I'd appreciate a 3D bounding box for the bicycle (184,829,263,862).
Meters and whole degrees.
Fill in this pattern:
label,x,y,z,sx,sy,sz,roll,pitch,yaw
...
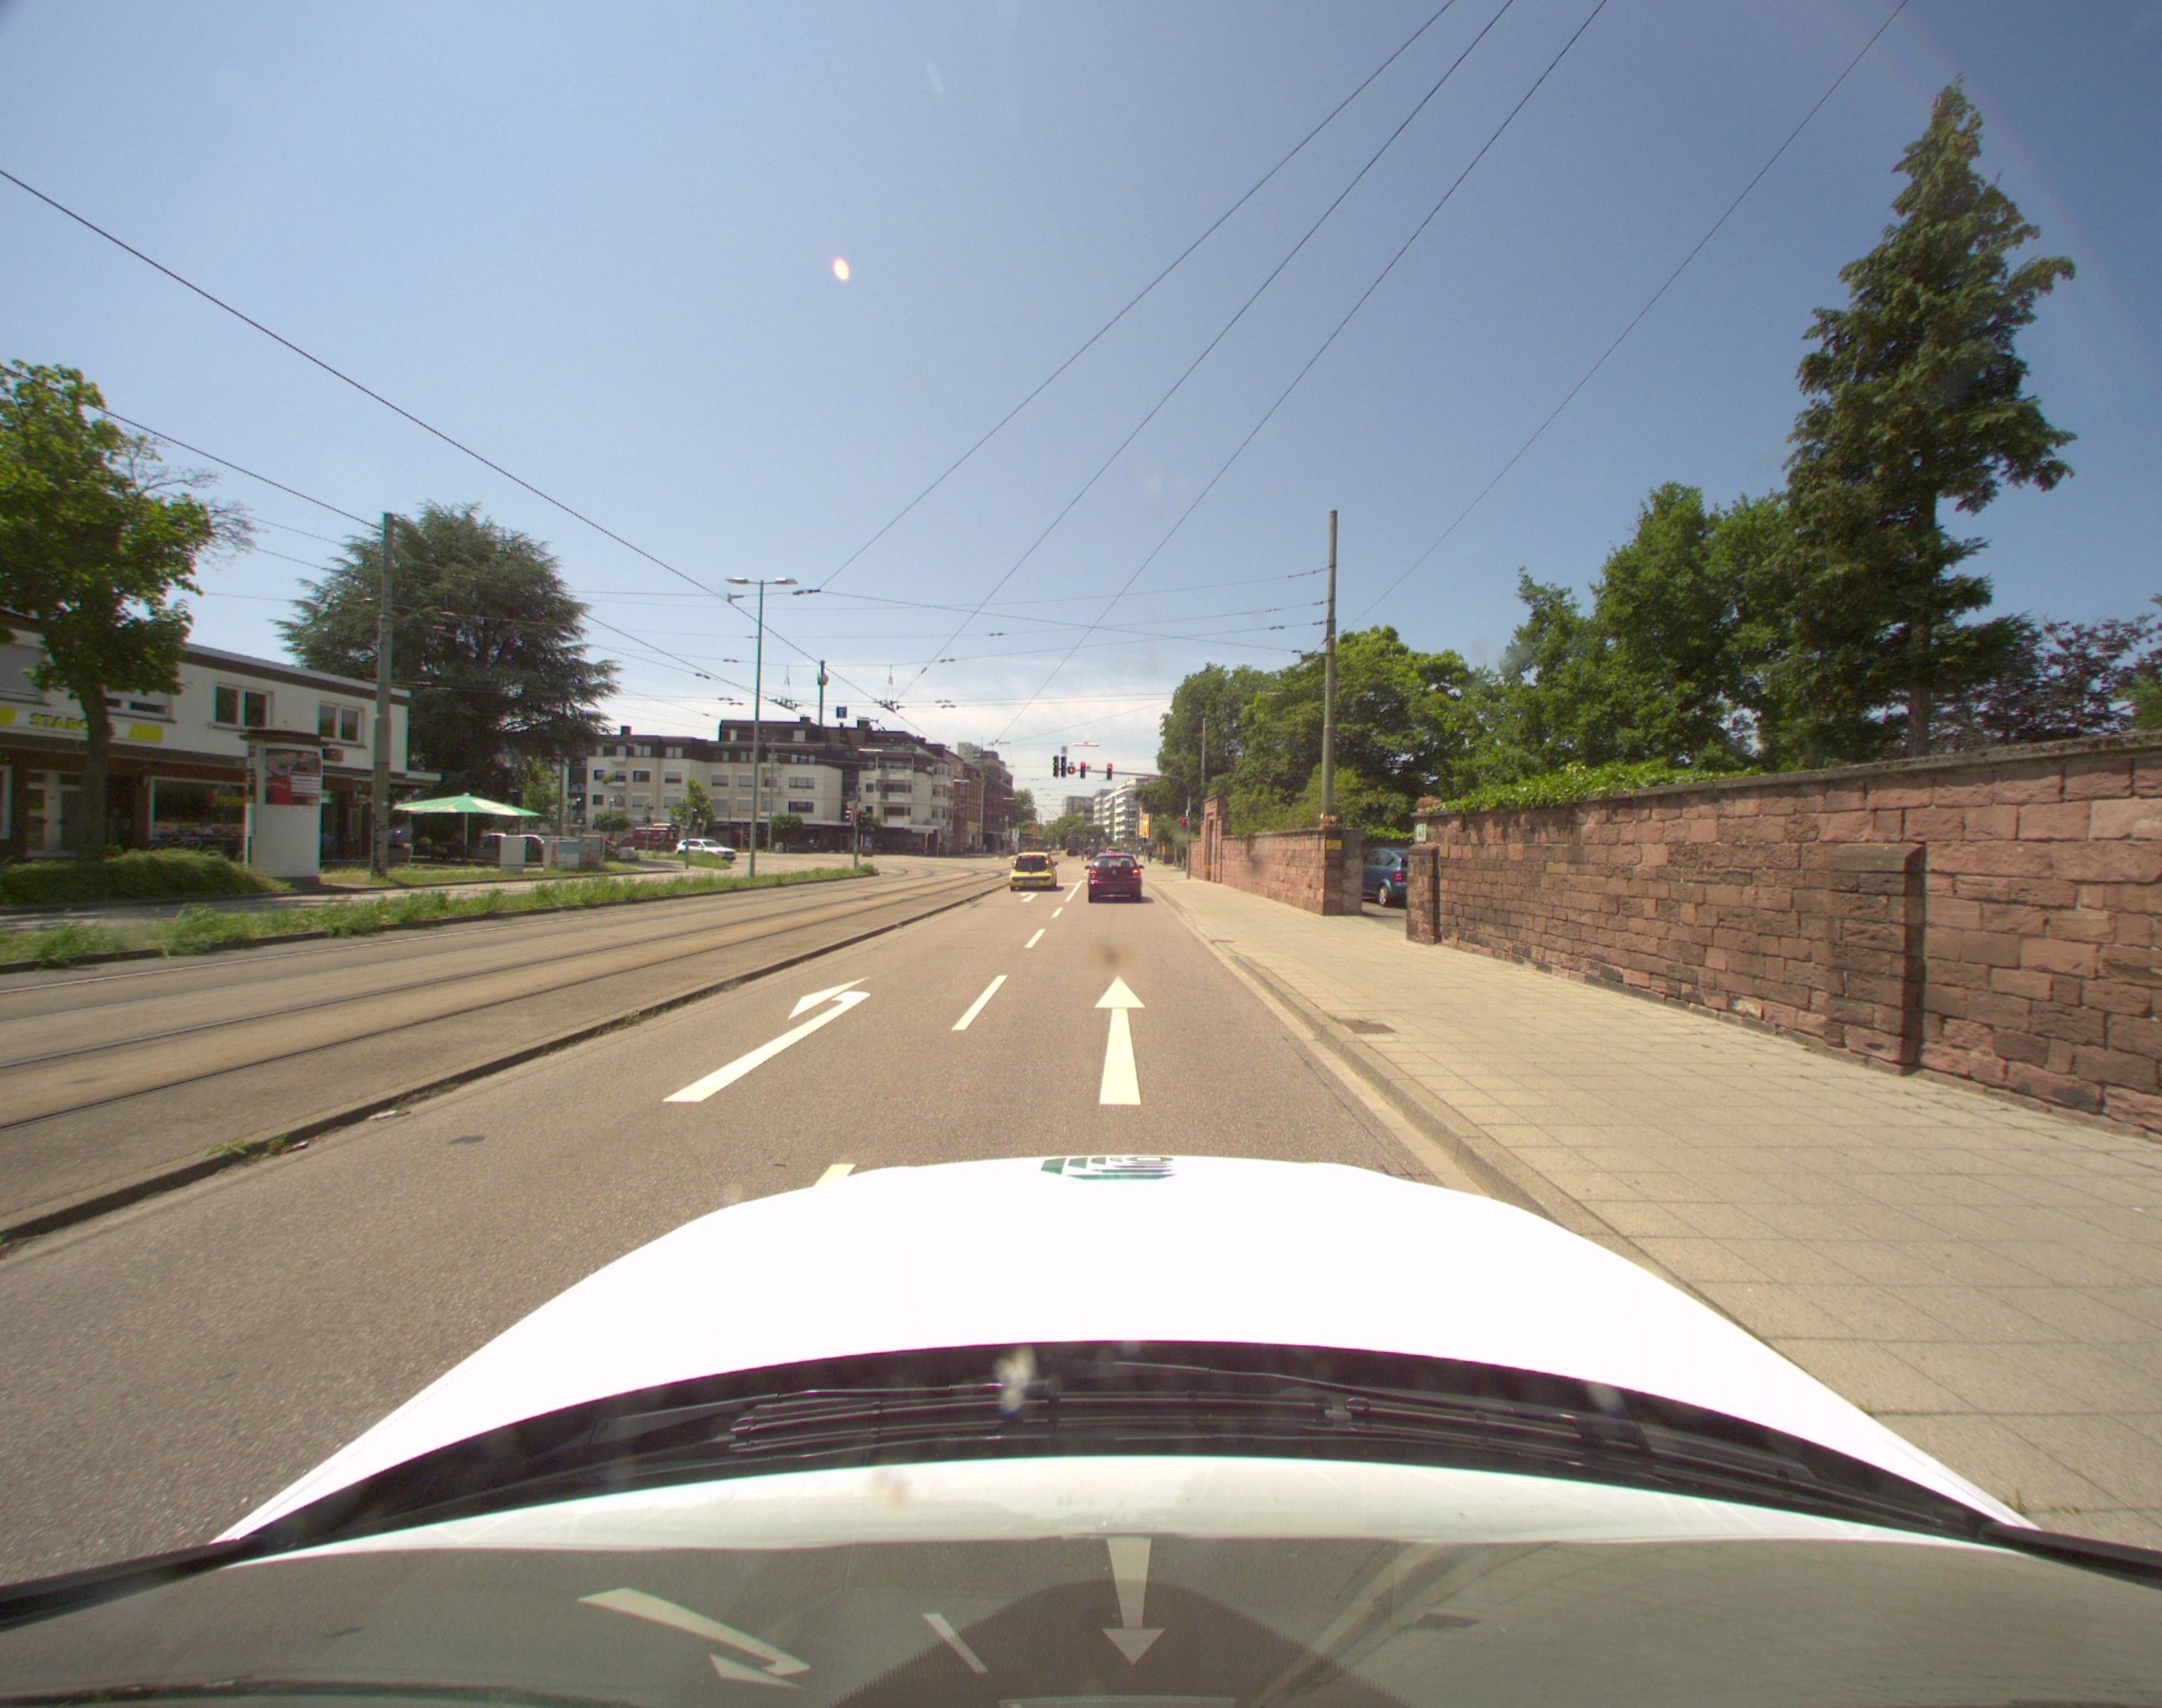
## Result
label,x,y,z,sx,sy,sz,roll,pitch,yaw
bicycle,-26.543,-0.243,25.244,0.536,0.979,1.760,0,0,2

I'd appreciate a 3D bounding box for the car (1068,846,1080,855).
label,x,y,z,sx,sy,sz,roll,pitch,yaw
car,-1.227,-0.630,143.733,1.931,1.641,4.002,0,0,2

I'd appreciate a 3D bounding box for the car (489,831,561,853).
label,x,y,z,sx,sy,sz,roll,pitch,yaw
car,-41.797,-0.855,61.349,4.157,1.584,1.924,0,0,-24

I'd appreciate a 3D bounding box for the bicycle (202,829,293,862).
label,x,y,z,sx,sy,sz,roll,pitch,yaw
bicycle,-25.256,-0.239,24.733,0.608,0.979,2.030,0,0,2

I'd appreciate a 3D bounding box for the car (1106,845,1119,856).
label,x,y,z,sx,sy,sz,roll,pitch,yaw
car,4.054,-0.430,105.490,1.566,1.415,3.722,-1,0,2

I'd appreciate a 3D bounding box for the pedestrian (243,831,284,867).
label,x,y,z,sx,sy,sz,roll,pitch,yaw
pedestrian,-28.771,-0.172,28.669,0.587,1.268,0.843,0,0,2

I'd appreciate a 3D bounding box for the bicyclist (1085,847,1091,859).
label,x,y,z,sx,sy,sz,roll,pitch,yaw
bicyclist,0.825,-0.136,97.672,0.764,1.406,0.506,0,-1,-2

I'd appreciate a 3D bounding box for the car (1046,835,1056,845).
label,x,y,z,sx,sy,sz,roll,pitch,yaw
car,-6.695,-3.136,181.281,1.728,2.013,4.003,1,1,2

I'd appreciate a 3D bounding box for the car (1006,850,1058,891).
label,x,y,z,sx,sy,sz,roll,pitch,yaw
car,-1.839,0.593,31.649,1.717,1.445,3.294,0,1,2

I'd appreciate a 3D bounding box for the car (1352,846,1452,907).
label,x,y,z,sx,sy,sz,roll,pitch,yaw
car,8.494,0.548,21.776,1.476,1.482,2.945,2,1,0

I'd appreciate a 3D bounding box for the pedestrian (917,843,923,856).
label,x,y,z,sx,sy,sz,roll,pitch,yaw
pedestrian,-19.360,-0.542,98.156,0.479,1.541,0.541,0,-1,34

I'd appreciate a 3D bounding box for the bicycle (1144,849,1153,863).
label,x,y,z,sx,sy,sz,roll,pitch,yaw
bicycle,7.698,0.221,92.846,0.831,1.525,4.002,0,0,2

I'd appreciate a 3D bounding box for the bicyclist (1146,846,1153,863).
label,x,y,z,sx,sy,sz,roll,pitch,yaw
bicyclist,7.682,0.057,91.774,0.718,1.818,0.889,0,-1,2

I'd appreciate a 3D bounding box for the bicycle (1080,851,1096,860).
label,x,y,z,sx,sy,sz,roll,pitch,yaw
bicycle,0.833,0.169,97.668,1.861,1.008,0.579,0,-1,-3

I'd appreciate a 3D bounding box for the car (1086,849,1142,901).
label,x,y,z,sx,sy,sz,roll,pitch,yaw
car,1.013,0.584,25.579,1.604,1.463,4.087,-1,0,2

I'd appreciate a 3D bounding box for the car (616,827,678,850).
label,x,y,z,sx,sy,sz,roll,pitch,yaw
car,-43.741,-1.552,82.152,5.047,2.341,2.245,0,0,0

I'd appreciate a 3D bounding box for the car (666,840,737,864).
label,x,y,z,sx,sy,sz,roll,pitch,yaw
car,-26.355,-0.160,56.552,4.516,1.610,1.738,0,0,20
